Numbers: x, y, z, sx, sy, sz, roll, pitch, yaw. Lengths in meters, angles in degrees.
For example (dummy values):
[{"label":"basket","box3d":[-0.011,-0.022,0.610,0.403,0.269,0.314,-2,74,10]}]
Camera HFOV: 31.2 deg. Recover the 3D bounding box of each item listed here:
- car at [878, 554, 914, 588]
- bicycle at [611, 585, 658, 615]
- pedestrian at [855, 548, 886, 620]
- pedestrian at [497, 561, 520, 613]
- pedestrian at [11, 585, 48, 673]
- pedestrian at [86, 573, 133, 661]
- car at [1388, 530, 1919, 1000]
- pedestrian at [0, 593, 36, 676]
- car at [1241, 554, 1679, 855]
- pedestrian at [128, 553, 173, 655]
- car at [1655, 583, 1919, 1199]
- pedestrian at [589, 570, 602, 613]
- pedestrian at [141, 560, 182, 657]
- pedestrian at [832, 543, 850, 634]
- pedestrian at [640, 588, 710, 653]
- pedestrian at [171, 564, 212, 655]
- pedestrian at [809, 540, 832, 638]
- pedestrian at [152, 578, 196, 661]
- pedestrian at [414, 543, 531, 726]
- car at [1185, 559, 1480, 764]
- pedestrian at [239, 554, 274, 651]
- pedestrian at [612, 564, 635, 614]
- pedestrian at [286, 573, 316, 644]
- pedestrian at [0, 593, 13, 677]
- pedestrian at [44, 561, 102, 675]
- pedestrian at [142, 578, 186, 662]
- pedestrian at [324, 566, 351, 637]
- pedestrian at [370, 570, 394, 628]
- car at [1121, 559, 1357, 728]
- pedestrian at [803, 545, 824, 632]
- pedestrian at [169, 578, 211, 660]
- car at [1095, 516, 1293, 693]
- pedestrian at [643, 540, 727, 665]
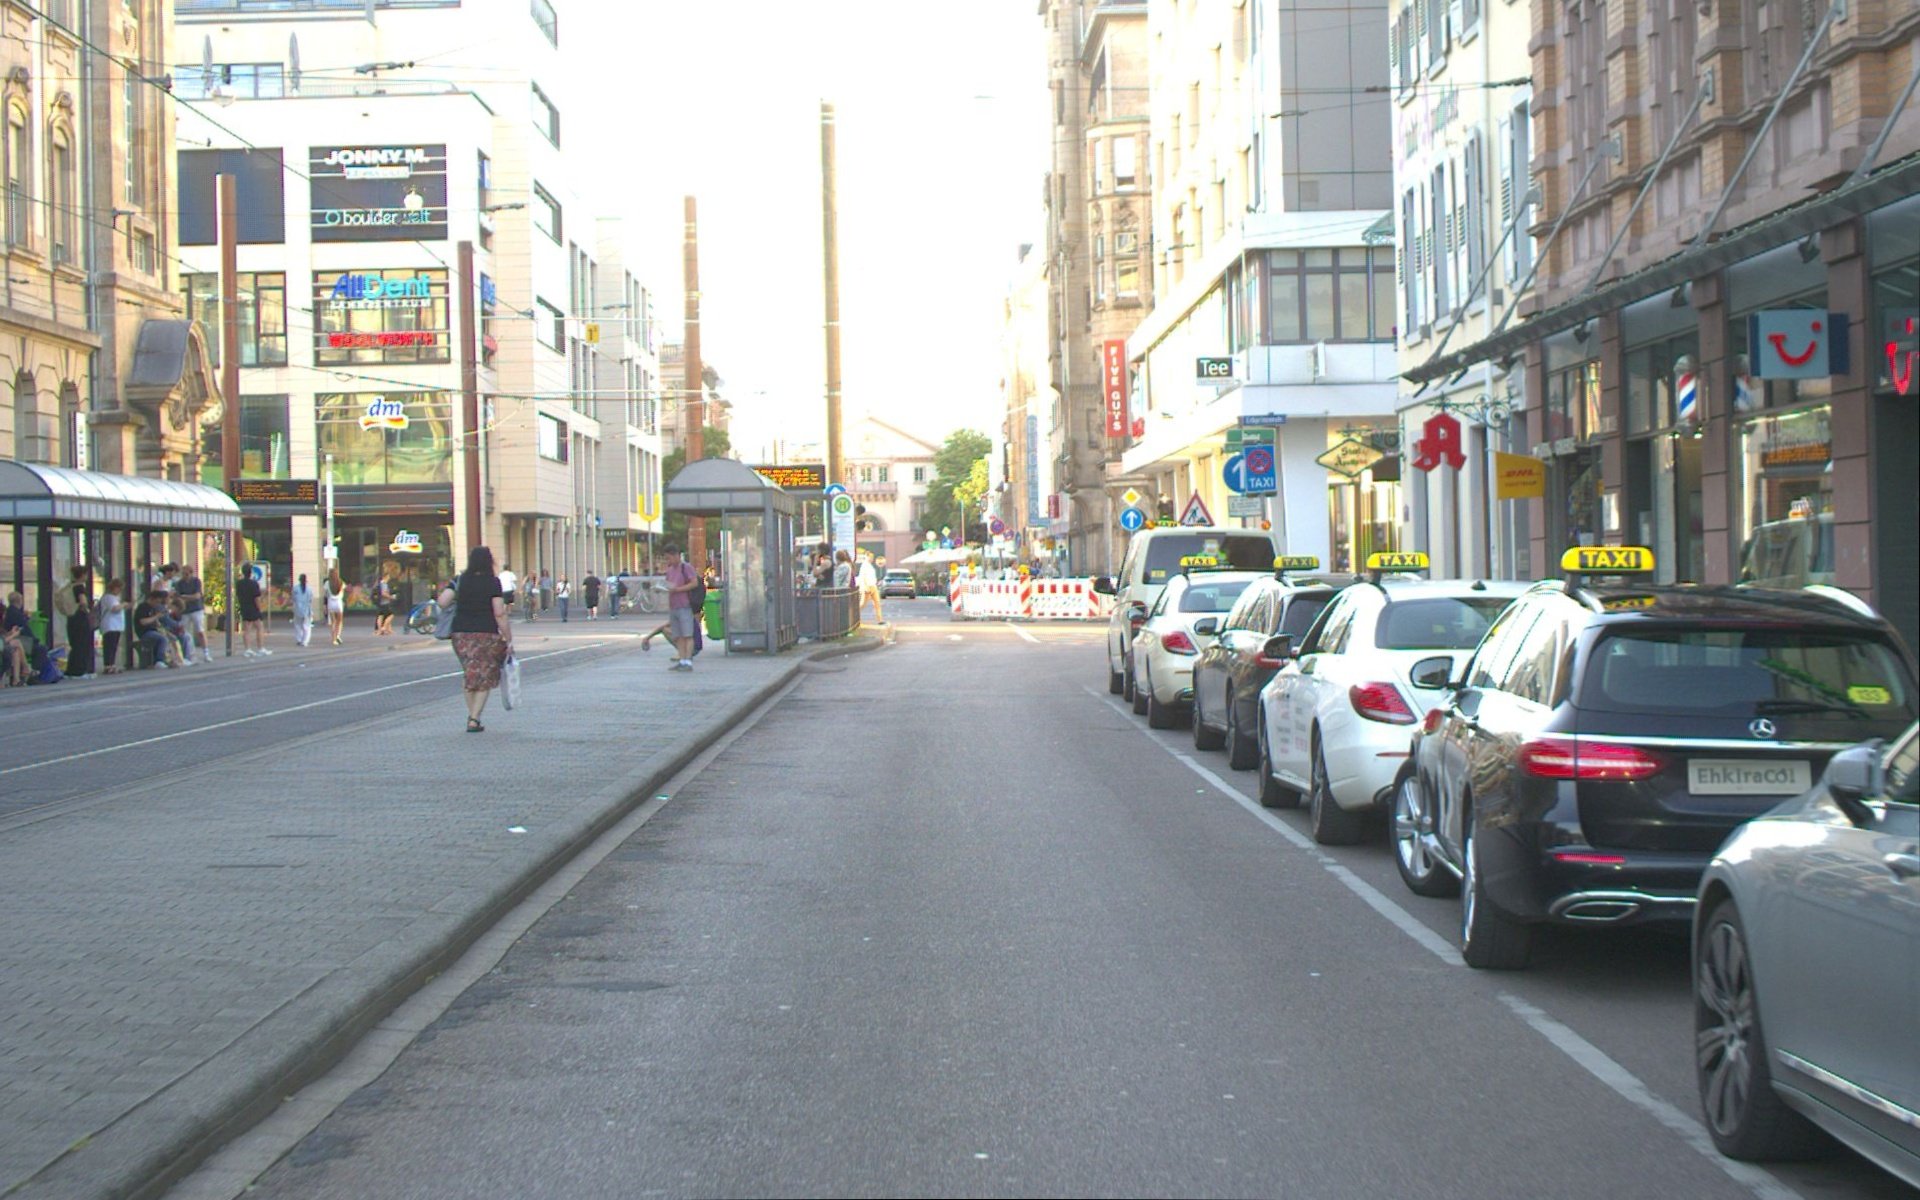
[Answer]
[{"label":"car","box3d":[-3.602,-1.632,193.789,1.993,1.897,4.000,0,0,-1]},{"label":"bicycle","box3d":[-12.156,0.002,128.250,1.696,1.118,0.451,0,0,2]},{"label":"pedestrian","box3d":[-2.253,-0.399,86.381,0.699,1.809,0.852,0,0,3]},{"label":"pedestrian","box3d":[-16.073,-0.460,122.382,0.573,1.848,0.816,0,0,11]},{"label":"pedestrian","box3d":[-12.692,0.390,46.906,0.364,1.196,0.429,0,0,5]},{"label":"pedestrian","box3d":[-12.952,0.257,52.387,0.518,1.323,0.638,-1,0,3]},{"label":"car","box3d":[2.822,0.569,14.048,1.733,1.585,4.441,1,0,2]},{"label":"pedestrian","box3d":[-12.638,0.460,46.061,0.364,1.099,0.429,0,0,5]},{"label":"car","box3d":[2.753,0.533,19.992,1.732,1.506,4.865,1,0,-1]},{"label":"pedestrian","box3d":[-13.569,0.068,57.609,0.674,1.685,0.638,-1,0,-17]},{"label":"car","box3d":[2.866,0.711,7.156,1.806,1.470,4.693,0,0,-1]},{"label":"pedestrian","box3d":[-12.635,-0.297,119.232,0.390,1.510,0.506,-1,0,-2]},{"label":"pedestrian","box3d":[-13.684,0.151,58.921,0.518,1.640,0.638,-1,0,3]},{"label":"pedestrian","box3d":[-2.360,-0.221,68.008,0.341,1.789,0.544,0,0,-3]},{"label":"pedestrian","box3d":[-4.203,0.304,50.679,0.799,0.936,0.692,-1,0,22]},{"label":"pedestrian","box3d":[-13.346,0.168,59.689,0.518,1.564,0.638,-1,0,3]},{"label":"pedestrian","box3d":[-2.520,-0.202,62.175,0.412,1.761,0.594,0,0,-3]},{"label":"pedestrian","box3d":[-12.745,0.315,55.760,0.518,1.323,0.638,-1,0,3]},{"label":"pedestrian","box3d":[-4.064,0.281,28.706,0.846,1.496,0.901,-1,0,-1]},{"label":"car","box3d":[2.848,0.439,27.211,1.726,1.472,4.820,0,0,-1]},{"label":"pedestrian","box3d":[-12.849,0.042,62.787,0.559,1.770,0.469,-1,0,-5]},{"label":"pedestrian","box3d":[-11.717,-0.387,119.686,0.782,1.745,0.600,0,0,-4]},{"label":"pedestrian","box3d":[-14.310,0.176,74.626,0.518,1.520,0.501,-1,0,-26]},{"label":"pedestrian","box3d":[-12.787,0.461,45.475,0.364,1.099,0.429,0,0,5]},{"label":"pedestrian","box3d":[-12.871,0.261,49.909,0.518,1.645,0.637,-1,0,22]},{"label":"pedestrian","box3d":[-12.733,0.316,54.992,0.518,1.323,0.638,-1,0,3]},{"label":"pedestrian","box3d":[-13.550,0.034,74.839,0.525,1.520,0.503,-1,0,-14]},{"label":"pedestrian","box3d":[-15.857,-0.033,94.322,0.569,1.587,0.448,-1,0,-2]},{"label":"car","box3d":[2.641,0.368,33.570,1.806,1.478,4.778,1,1,-1]},{"label":"pedestrian","box3d":[-2.783,-0.219,65.184,0.385,1.636,0.549,0,0,-3]},{"label":"pedestrian","box3d":[-12.682,0.314,56.632,0.518,1.323,0.638,-1,0,3]},{"label":"car","box3d":[2.676,0.046,40.300,1.876,1.917,4.700,1,0,-1]},{"label":"pedestrian","box3d":[-3.645,0.024,45.629,0.687,1.632,0.859,0,1,40]}]
